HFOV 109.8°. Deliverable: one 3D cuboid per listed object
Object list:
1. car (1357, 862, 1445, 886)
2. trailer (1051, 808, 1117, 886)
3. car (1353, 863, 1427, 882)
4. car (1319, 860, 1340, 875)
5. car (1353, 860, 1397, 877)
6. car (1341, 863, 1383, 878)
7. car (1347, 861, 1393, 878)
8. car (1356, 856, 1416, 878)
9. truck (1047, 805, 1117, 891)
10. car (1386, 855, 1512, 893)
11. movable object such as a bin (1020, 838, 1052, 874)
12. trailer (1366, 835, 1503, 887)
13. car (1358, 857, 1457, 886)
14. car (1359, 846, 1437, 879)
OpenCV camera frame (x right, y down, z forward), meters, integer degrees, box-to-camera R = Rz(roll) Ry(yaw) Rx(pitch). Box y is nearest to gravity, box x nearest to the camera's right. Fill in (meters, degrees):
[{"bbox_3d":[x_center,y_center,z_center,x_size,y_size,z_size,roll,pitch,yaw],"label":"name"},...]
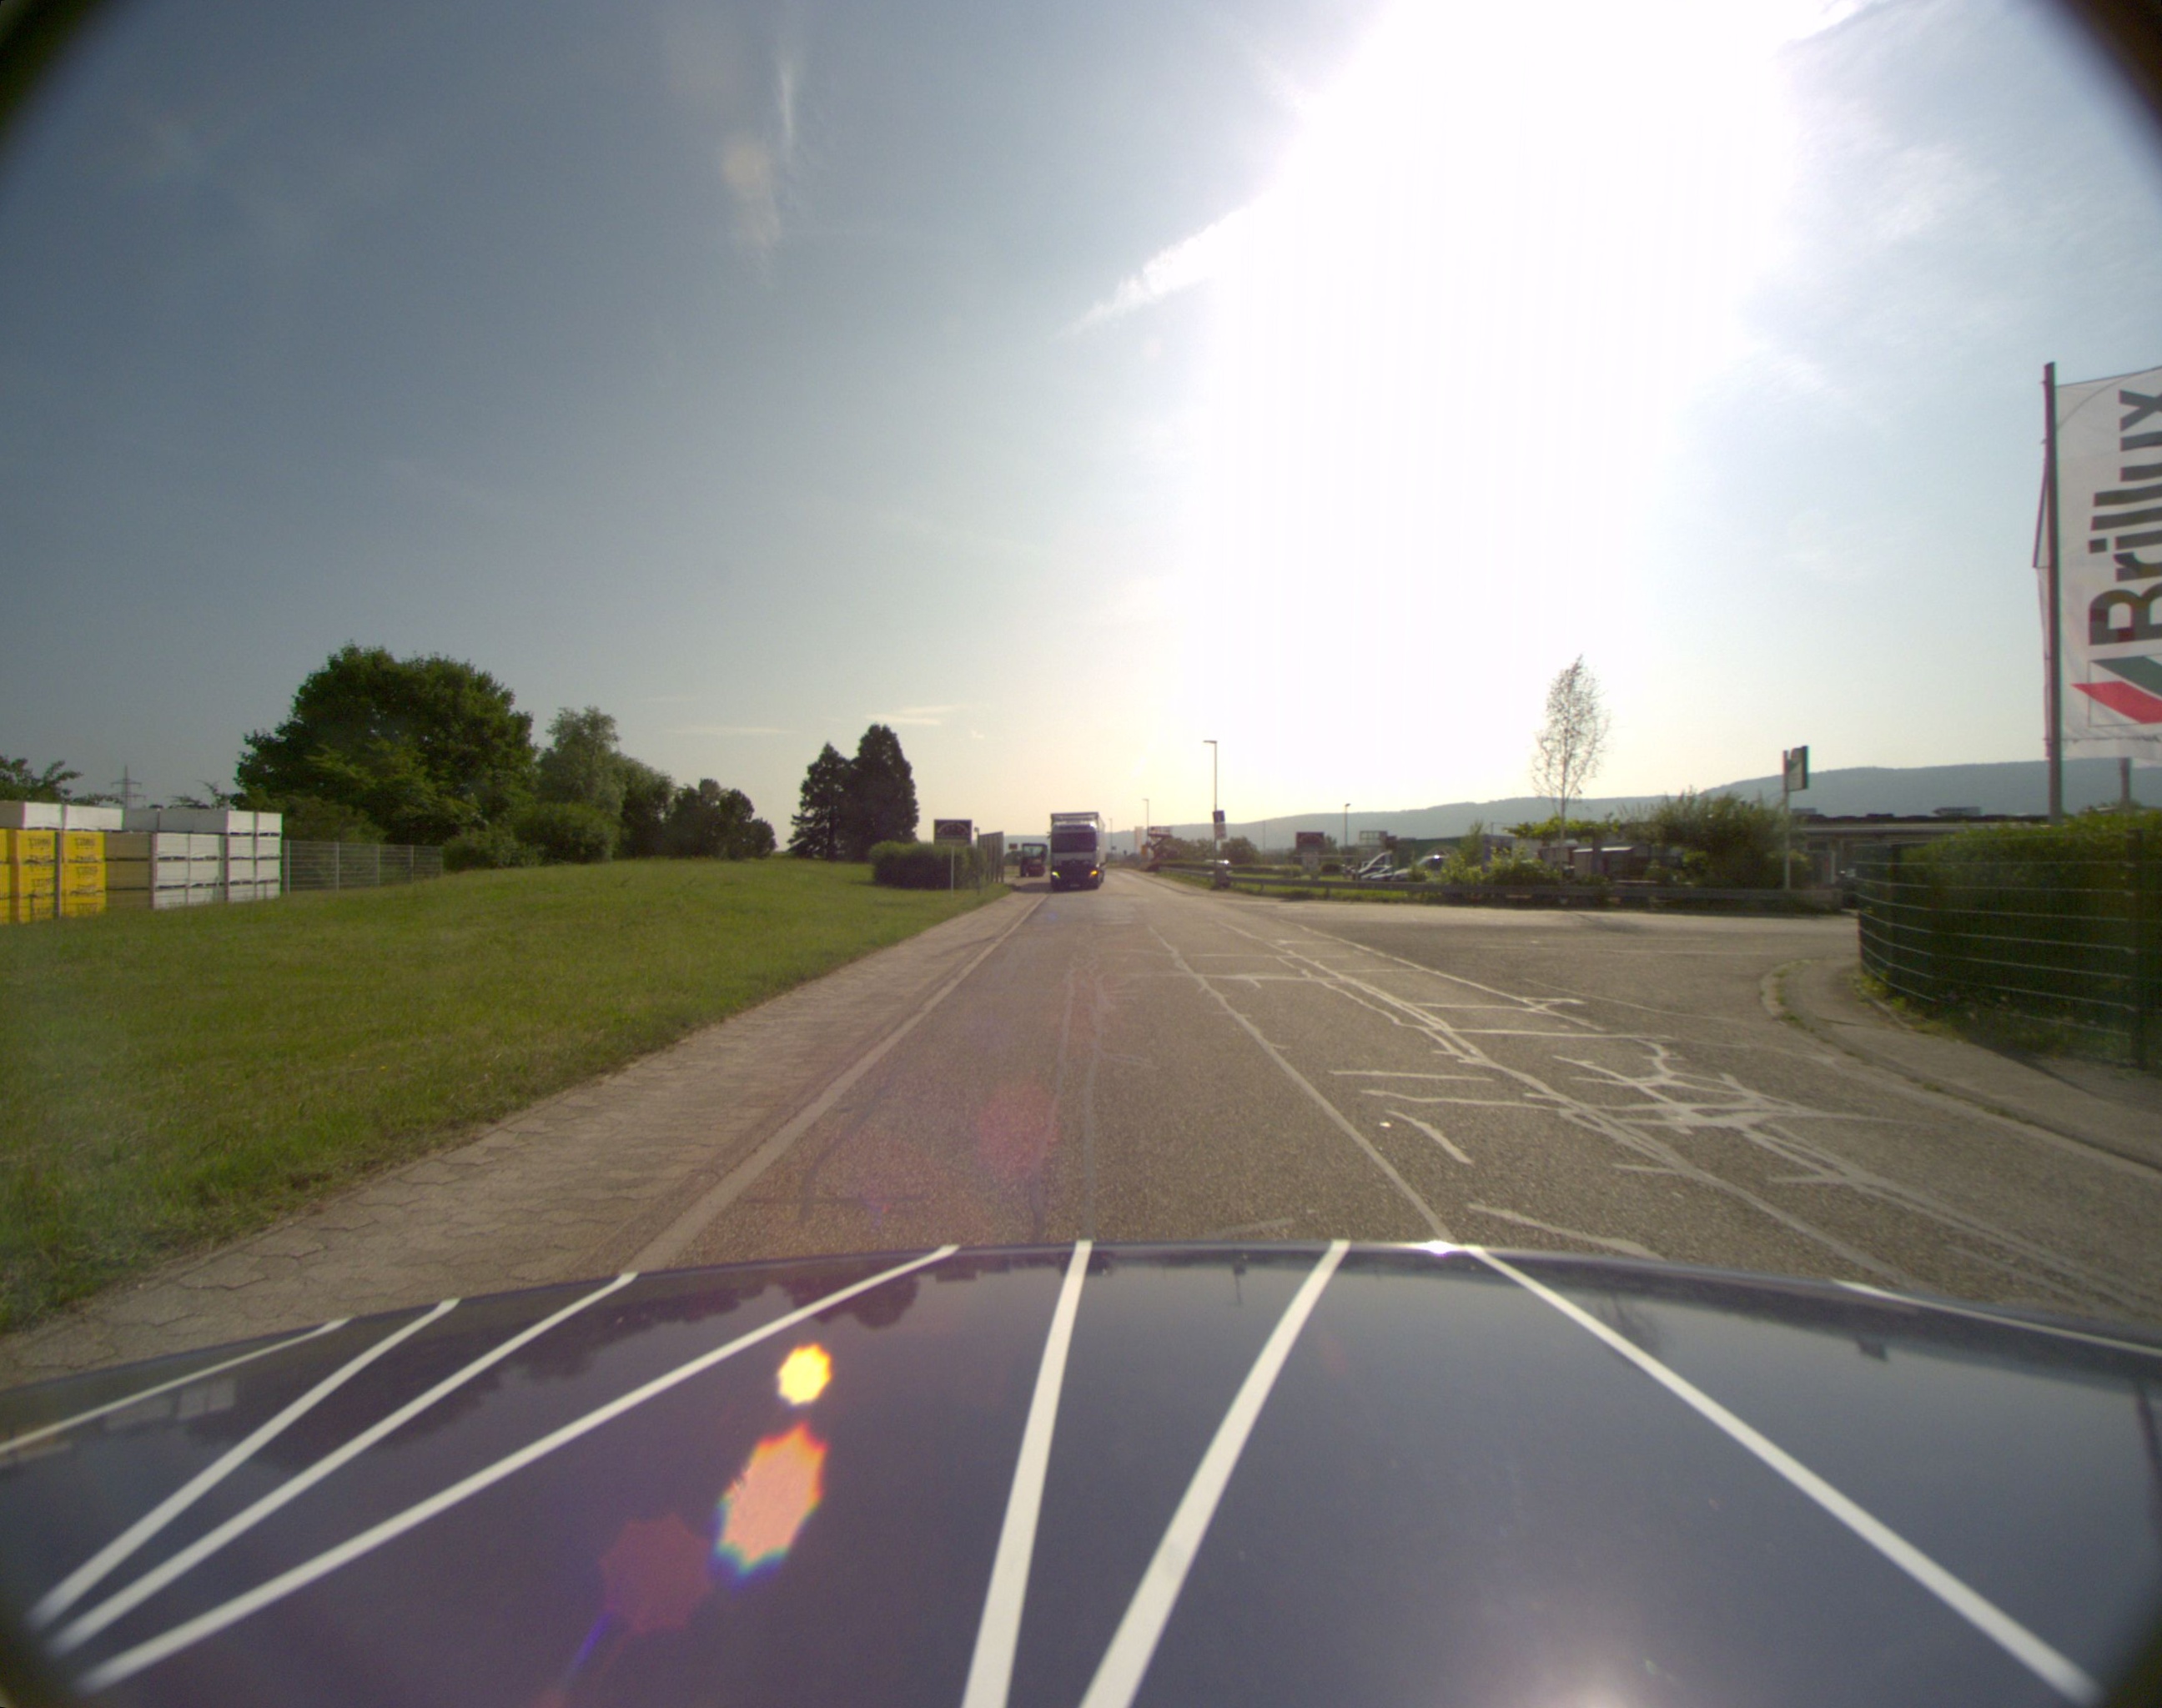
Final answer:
[{"bbox_3d":[20.033,1.247,47.739,4.956,1.309,1.782,1,-1,19],"label":"car"},{"bbox_3d":[0.312,-0.466,48.824,3.497,4.183,14.233,-2,1,1],"label":"trailer"},{"bbox_3d":[21.739,1.308,53.662,4.686,1.212,1.834,1,-1,19],"label":"car"},{"bbox_3d":[34.157,1.785,104.644,1.997,2.002,4.160,1,0,9],"label":"car"},{"bbox_3d":[28.241,1.390,73.013,3.681,1.512,1.686,1,0,12],"label":"car"},{"bbox_3d":[31.523,1.834,85.230,4.149,1.526,1.885,1,0,13],"label":"car"},{"bbox_3d":[26.422,1.418,69.504,3.750,1.381,1.731,1,0,14],"label":"car"},{"bbox_3d":[24.512,1.058,61.168,4.393,1.653,1.810,1,-1,19],"label":"car"},{"bbox_3d":[0.085,-0.314,40.944,3.395,4.183,6.098,-2,1,1],"label":"truck"},{"bbox_3d":[18.264,0.980,37.937,5.272,1.696,2.001,1,0,7],"label":"car"},{"bbox_3d":[-4.125,0.177,68.451,2.436,2.994,5.750,1,0,-7],"label":"movable object such as a bin"},{"bbox_3d":[19.066,0.353,41.371,6.315,2.589,2.857,1,0,14],"label":"trailer"},{"bbox_3d":[18.969,0.993,44.434,5.132,1.525,2.182,1,-1,19],"label":"car"},{"bbox_3d":[24.298,0.651,58.436,5.394,2.358,2.298,1,-1,19],"label":"car"}]
